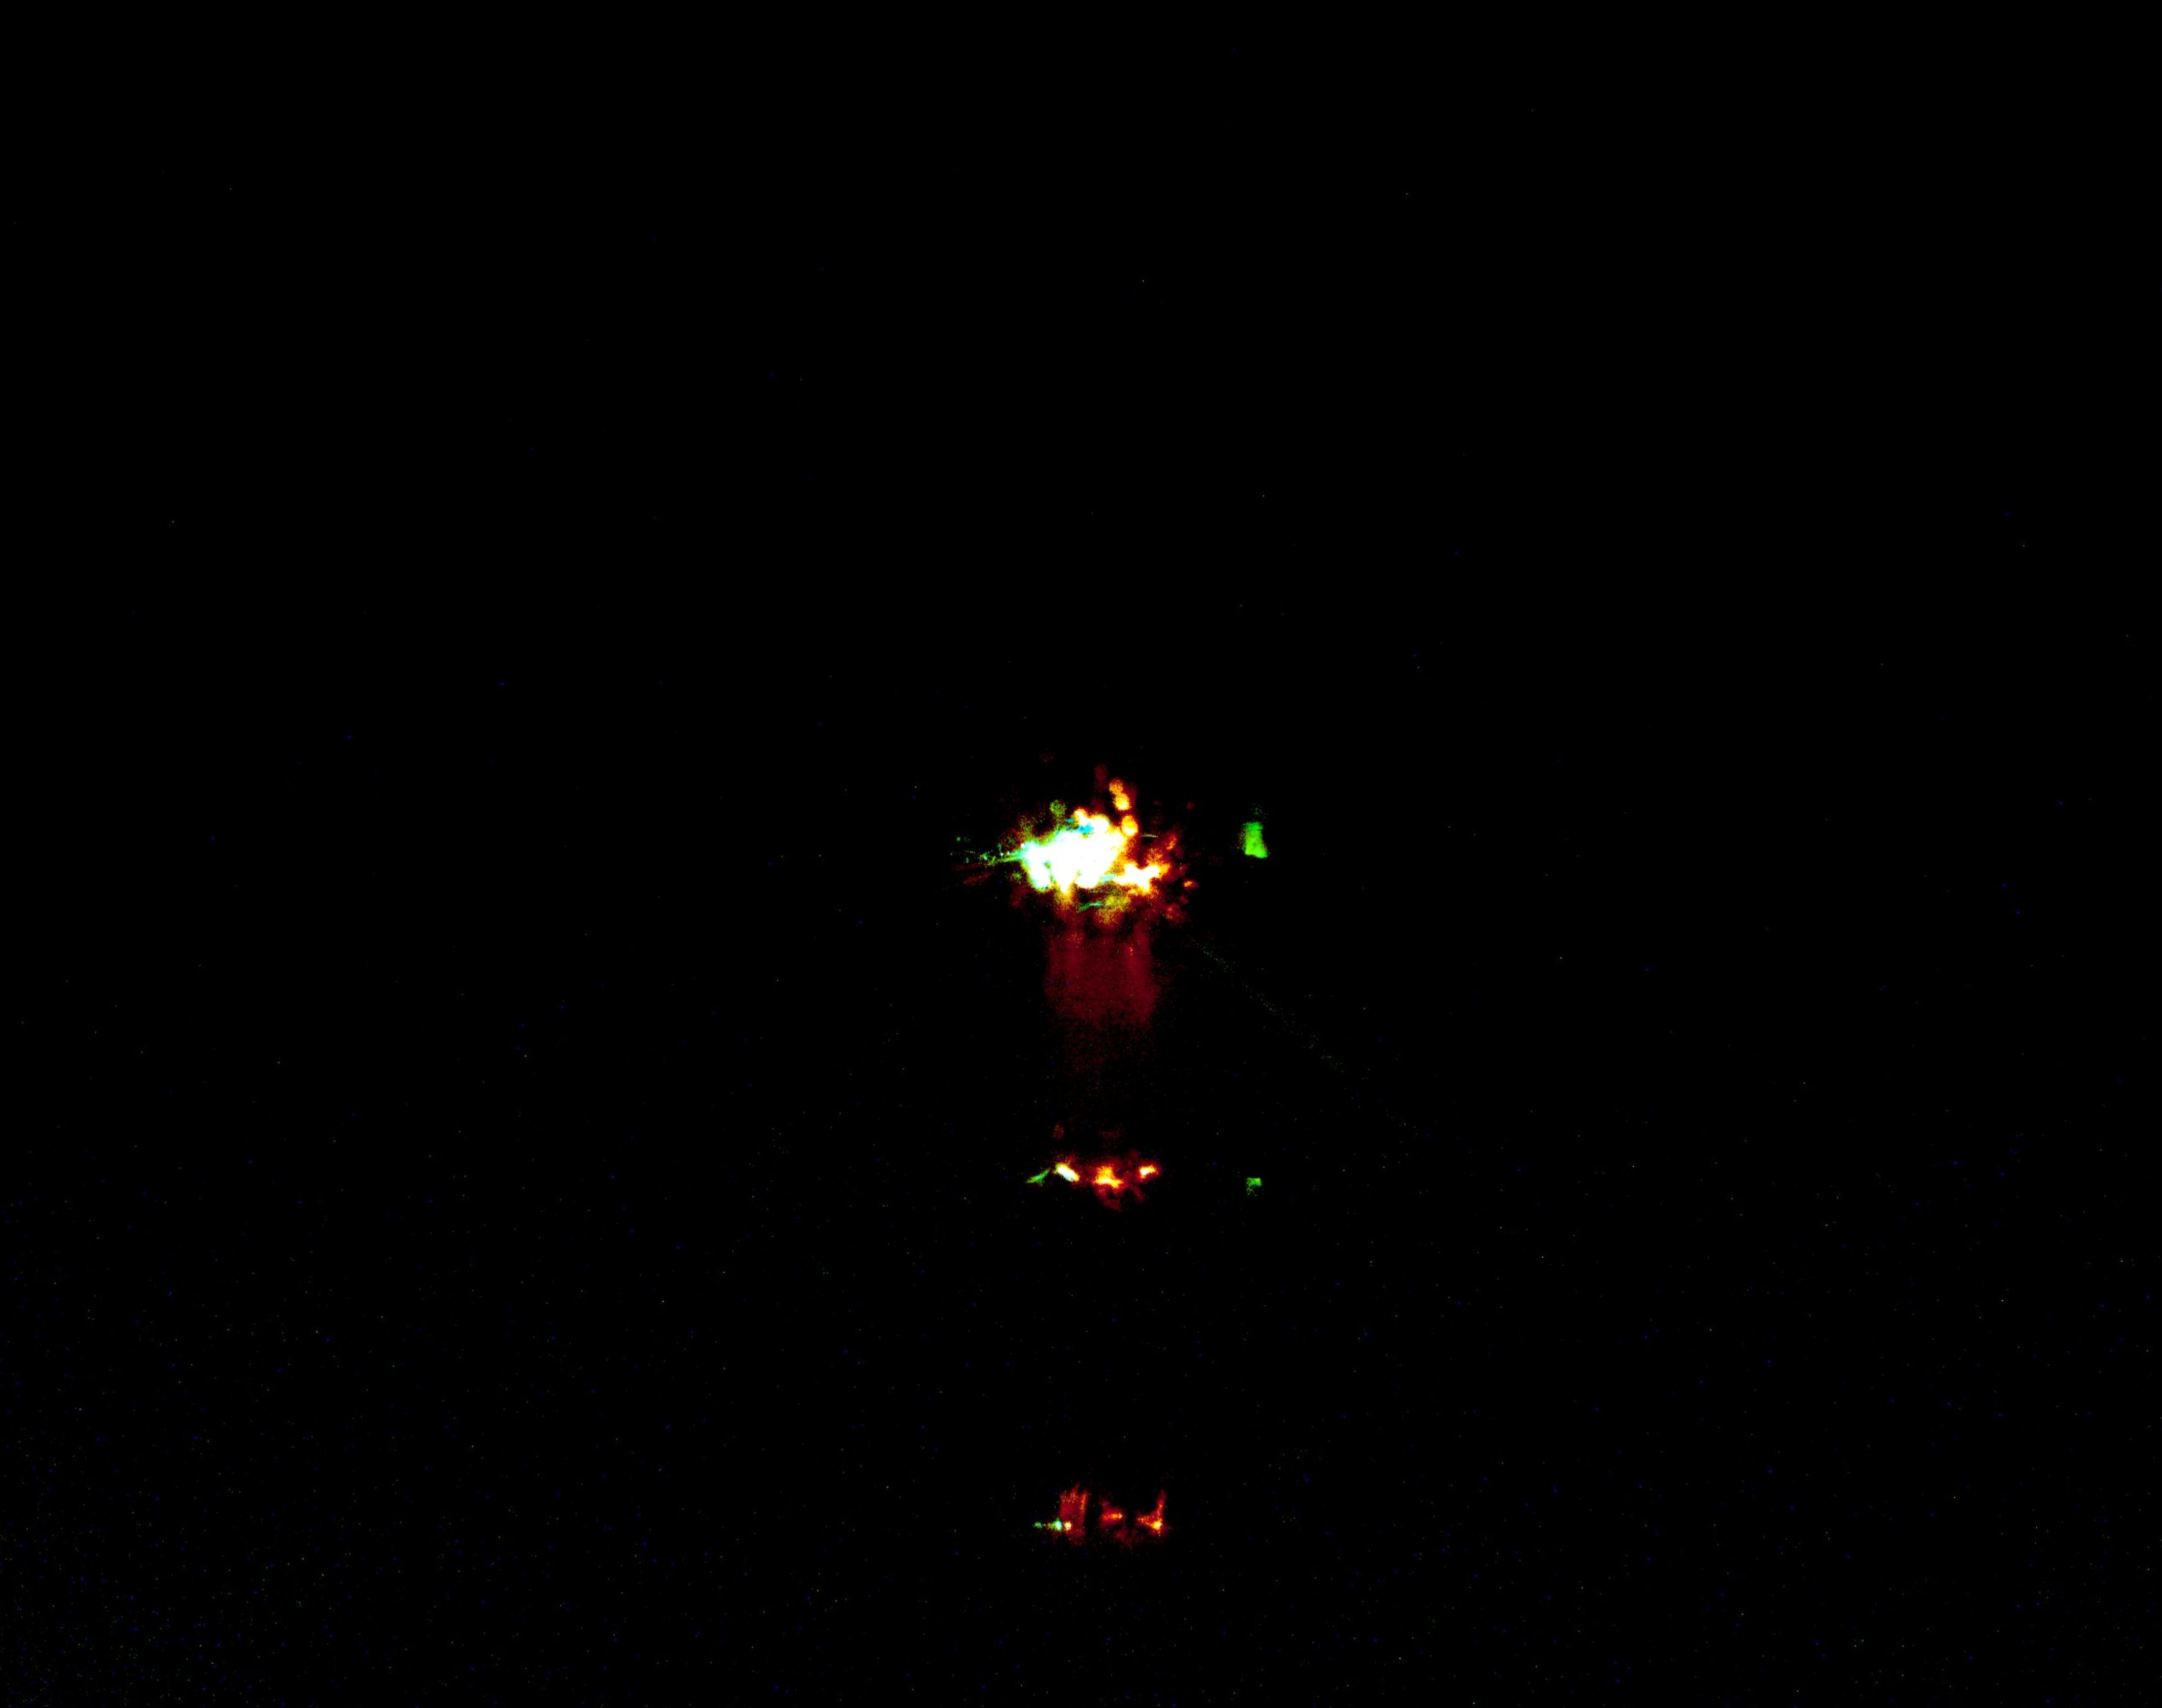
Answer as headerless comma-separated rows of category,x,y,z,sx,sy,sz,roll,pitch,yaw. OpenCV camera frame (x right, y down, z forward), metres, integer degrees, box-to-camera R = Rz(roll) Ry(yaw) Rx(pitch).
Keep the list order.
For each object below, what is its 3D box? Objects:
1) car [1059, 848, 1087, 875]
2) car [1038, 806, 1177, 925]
car,-0.558,0.547,61.422,1.987,1.914,3.999,-1,0,0
car,0.510,0.201,19.078,2.707,2.307,6.099,-1,0,-1
